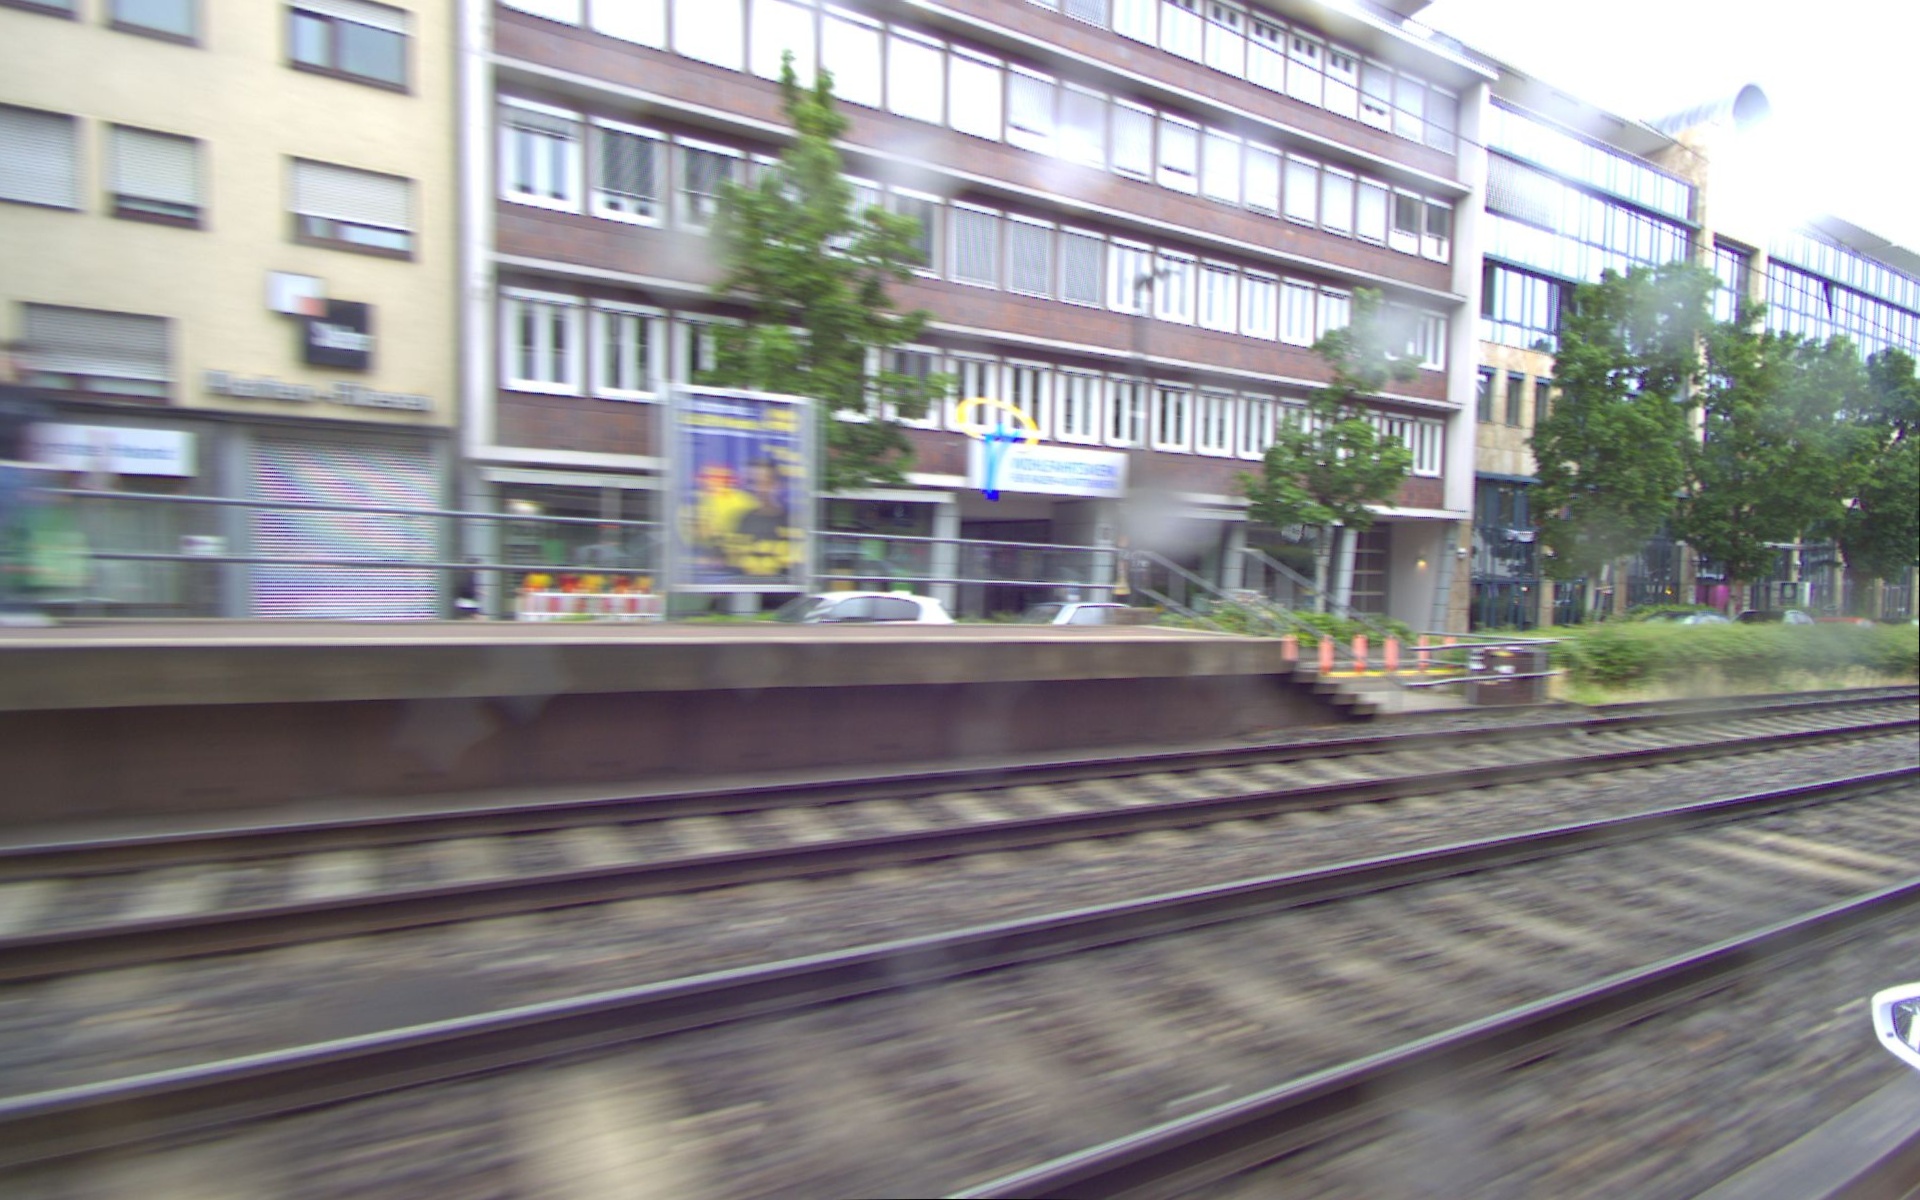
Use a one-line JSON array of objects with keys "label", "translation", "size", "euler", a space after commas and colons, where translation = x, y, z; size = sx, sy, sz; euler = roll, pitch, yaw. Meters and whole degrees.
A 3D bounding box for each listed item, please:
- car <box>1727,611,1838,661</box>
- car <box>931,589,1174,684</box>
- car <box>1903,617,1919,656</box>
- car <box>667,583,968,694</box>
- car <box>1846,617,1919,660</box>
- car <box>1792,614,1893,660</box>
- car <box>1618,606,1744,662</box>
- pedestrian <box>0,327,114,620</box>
[{"label": "car", "translation": [26.086, 1.135, 31.810], "size": [4.134, 1.455, 1.558], "euler": [2, 0, -34]}, {"label": "car", "translation": [1.662, 0.610, 17.435], "size": [4.134, 1.455, 1.558], "euler": [2, 0, -34]}, {"label": "car", "translation": [38.683, 1.456, 39.403], "size": [4.134, 1.455, 1.558], "euler": [2, 0, -34]}, {"label": "car", "translation": [-2.054, 0.542, 15.004], "size": [4.194, 1.455, 1.558], "euler": [2, 0, -34]}, {"label": "car", "translation": [34.625, 1.423, 37.293], "size": [4.134, 1.455, 1.558], "euler": [2, 0, -34]}, {"label": "car", "translation": [30.206, 1.260, 34.335], "size": [4.134, 1.455, 1.558], "euler": [2, 0, -34]}, {"label": "car", "translation": [20.568, 0.968, 28.607], "size": [4.134, 1.455, 1.558], "euler": [2, 0, -34]}, {"label": "pedestrian", "translation": [-6.179, -0.801, 6.595], "size": [0.841, 1.826, 0.652], "euler": [1, 1, -32]}]
